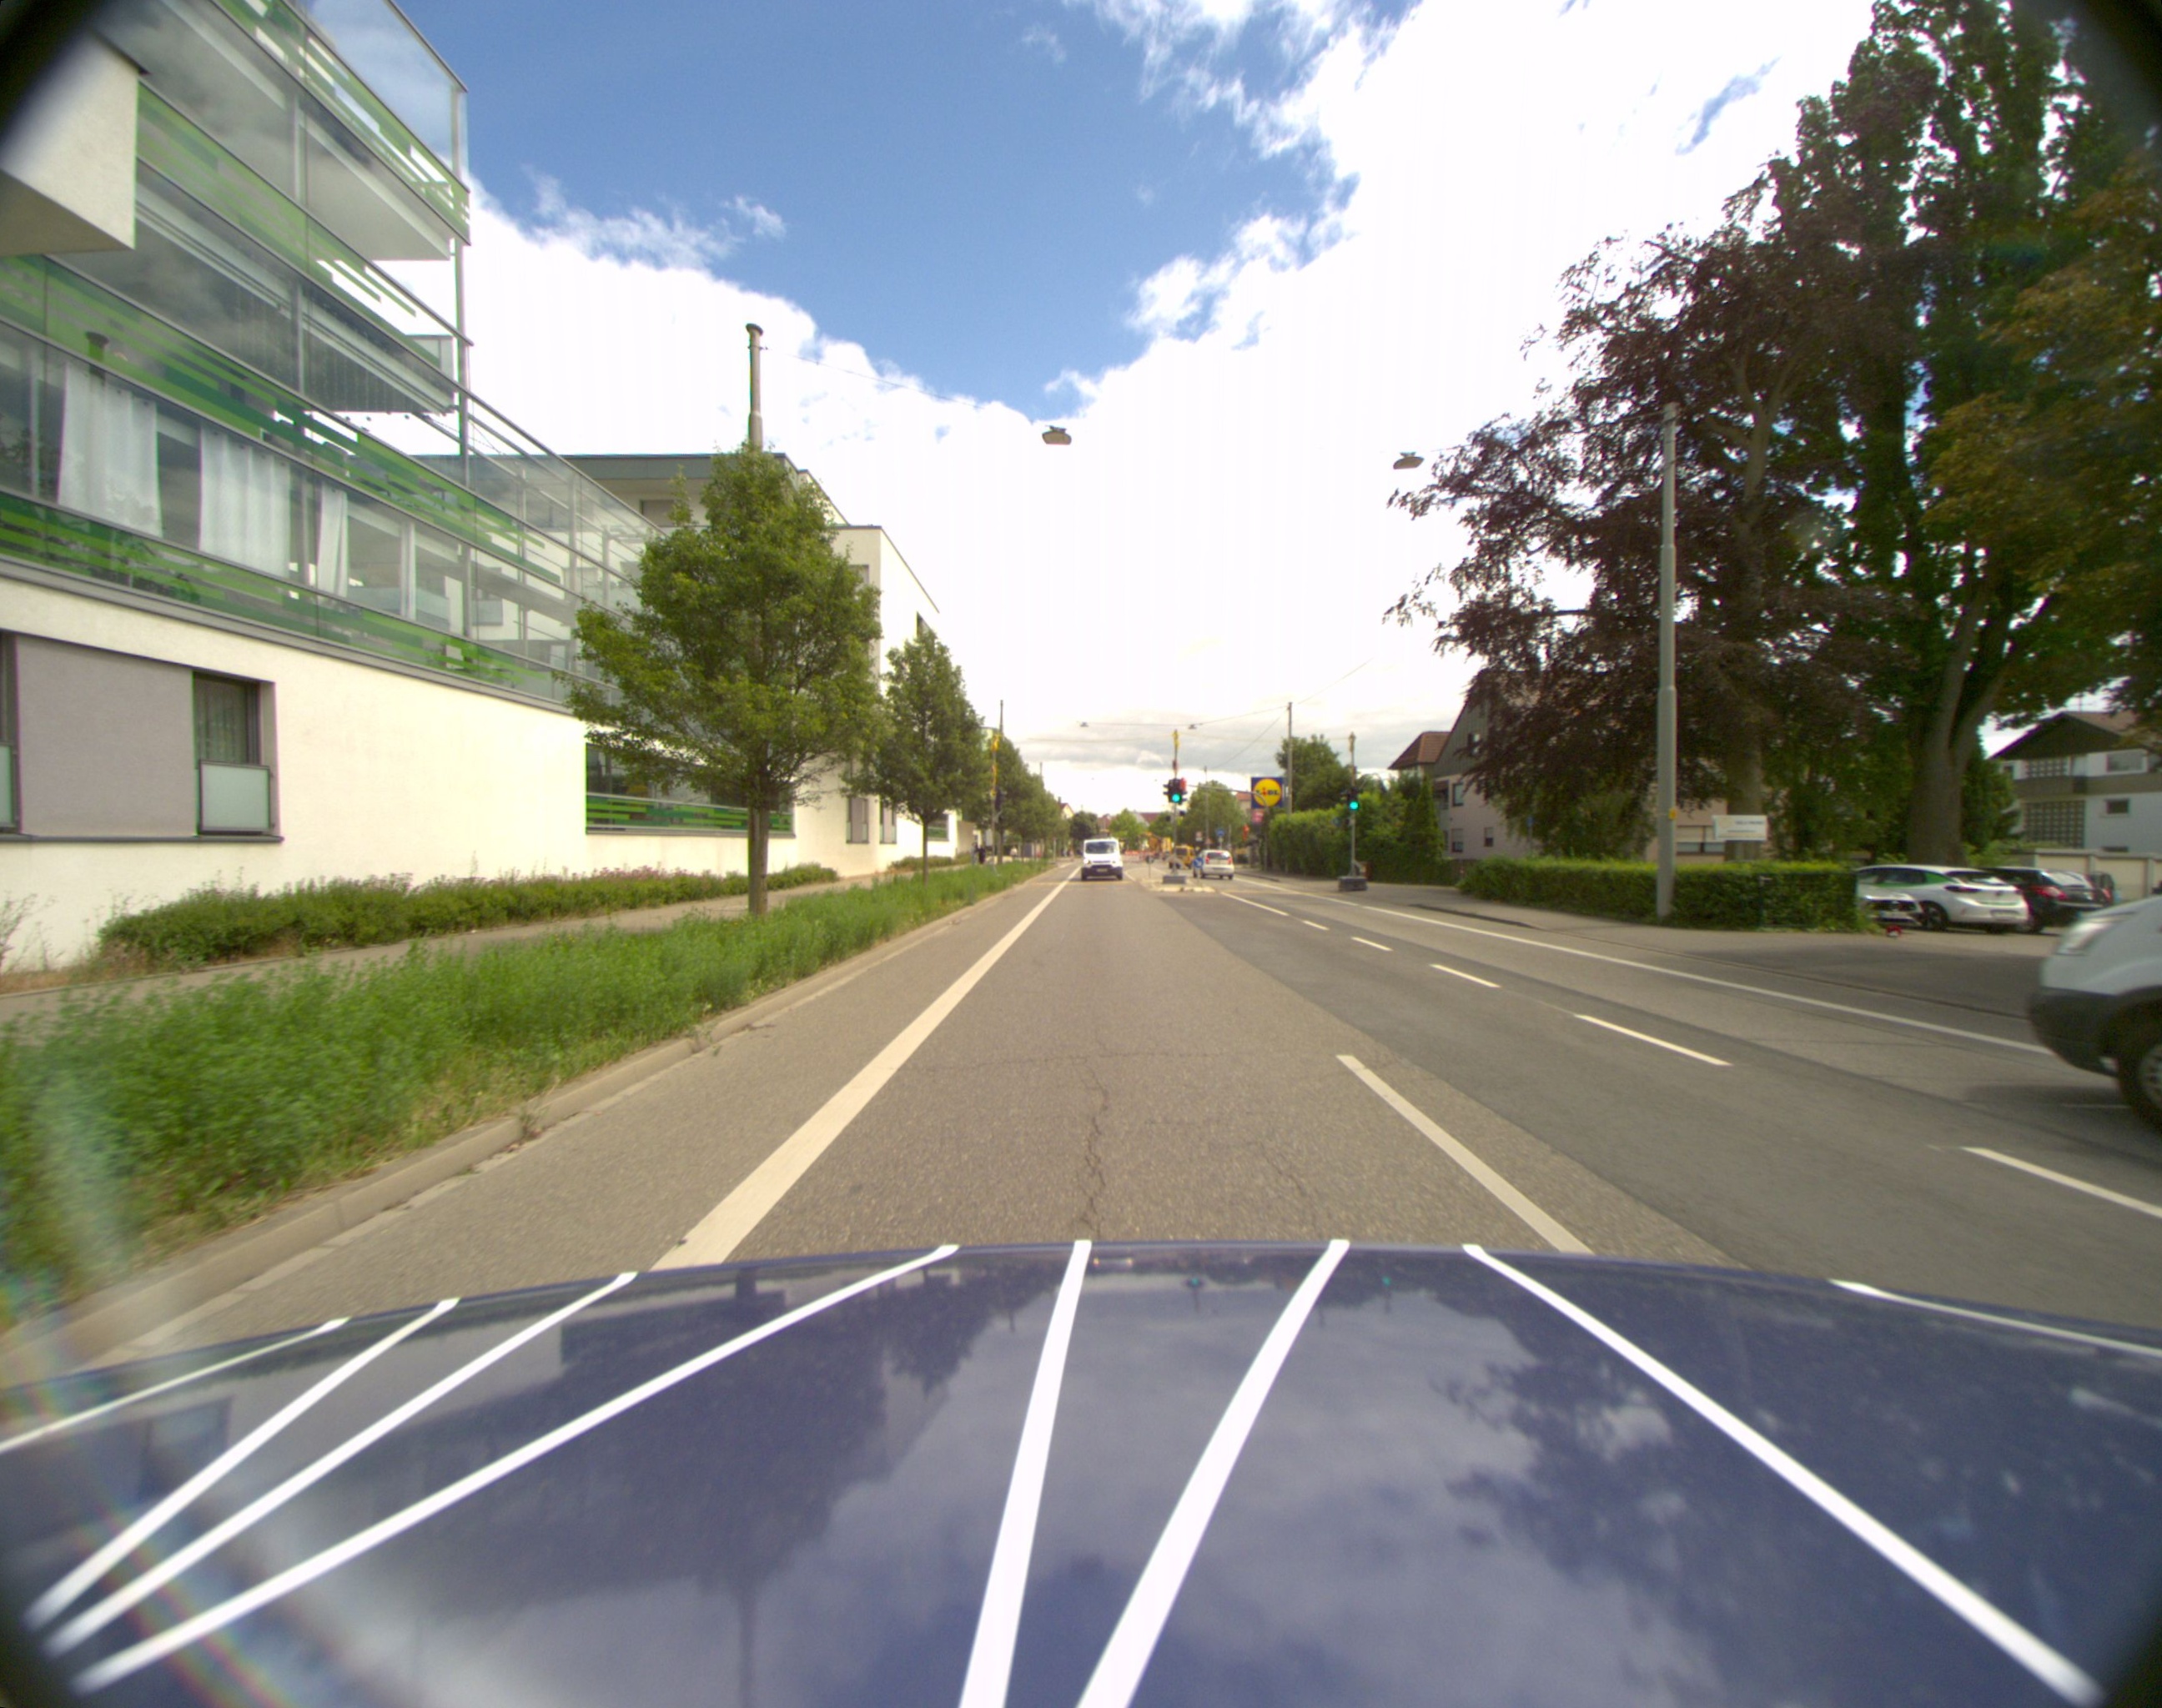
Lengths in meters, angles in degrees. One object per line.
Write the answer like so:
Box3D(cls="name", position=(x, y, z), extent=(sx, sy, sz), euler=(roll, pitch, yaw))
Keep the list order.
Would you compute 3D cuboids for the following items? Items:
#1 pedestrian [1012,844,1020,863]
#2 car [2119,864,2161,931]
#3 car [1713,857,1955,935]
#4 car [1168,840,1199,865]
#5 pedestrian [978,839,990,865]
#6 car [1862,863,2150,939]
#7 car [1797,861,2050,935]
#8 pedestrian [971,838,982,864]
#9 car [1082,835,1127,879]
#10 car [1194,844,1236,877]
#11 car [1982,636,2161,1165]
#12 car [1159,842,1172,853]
Box3D(cls="pedestrian", position=(-5.914, -0.063, 69.123), extent=(0.559, 1.649, 0.607), euler=(-2, 2, 1))
Box3D(cls="car", position=(26.709, 1.084, 16.962), extent=(1.837, 1.560, 3.712), euler=(1, 2, -6))
Box3D(cls="car", position=(16.444, 0.854, 16.875), extent=(1.666, 1.380, 3.521), euler=(2, 2, -5))
Box3D(cls="car", position=(8.284, -0.115, 61.018), extent=(1.996, 1.774, 4.003), euler=(-2, 2, 14))
Box3D(cls="pedestrian", position=(-7.084, -0.130, 55.574), extent=(0.742, 1.876, 0.701), euler=(-2, 2, -2))
Box3D(cls="car", position=(21.466, 1.011, 17.929), extent=(1.806, 1.382, 3.928), euler=(2, 2, -3))
Box3D(cls="car", position=(19.157, 0.929, 17.531), extent=(1.743, 1.380, 3.521), euler=(1, 2, -4))
Box3D(cls="pedestrian", position=(-7.695, -0.216, 55.915), extent=(0.620, 1.830, 0.587), euler=(-3, 3, -25))
Box3D(cls="car", position=(1.085, 0.100, 36.168), extent=(1.998, 1.906, 3.999), euler=(-1, 2, 1))
Box3D(cls="car", position=(6.992, 0.310, 39.965), extent=(1.611, 1.510, 3.239), euler=(2, 2, 0))
Box3D(cls="car", position=(6.919, 0.310, 1.721), extent=(2.149, 2.803, 6.145), euler=(1, 1, -3))
Box3D(cls="car", position=(12.965, -1.000, 117.082), extent=(1.872, 1.608, 4.000), euler=(-2, 2, 5))
